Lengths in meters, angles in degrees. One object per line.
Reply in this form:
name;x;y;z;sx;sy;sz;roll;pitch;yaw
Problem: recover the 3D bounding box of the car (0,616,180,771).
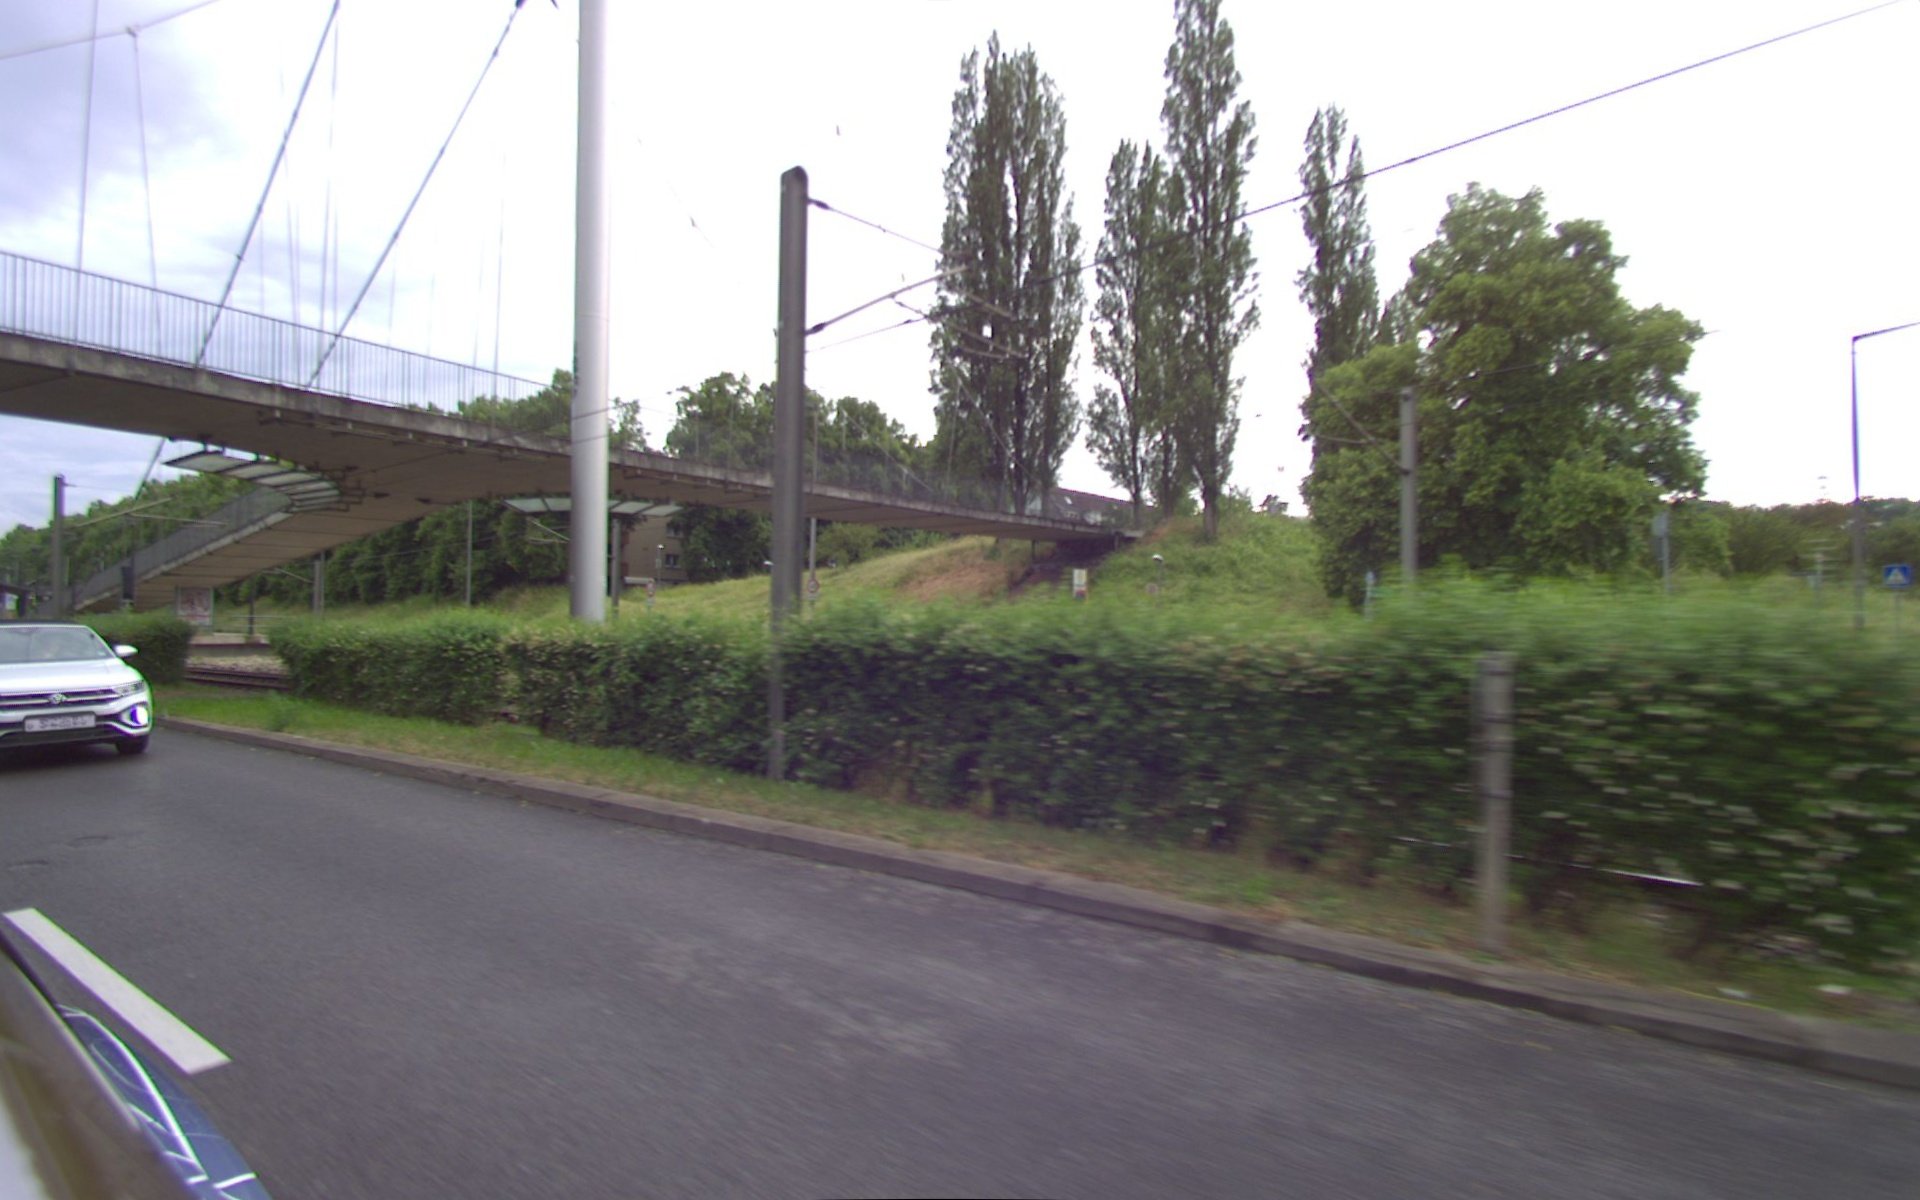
car;-10.926;0.952;11.681;4.692;1.476;1.937;-1;0;38
